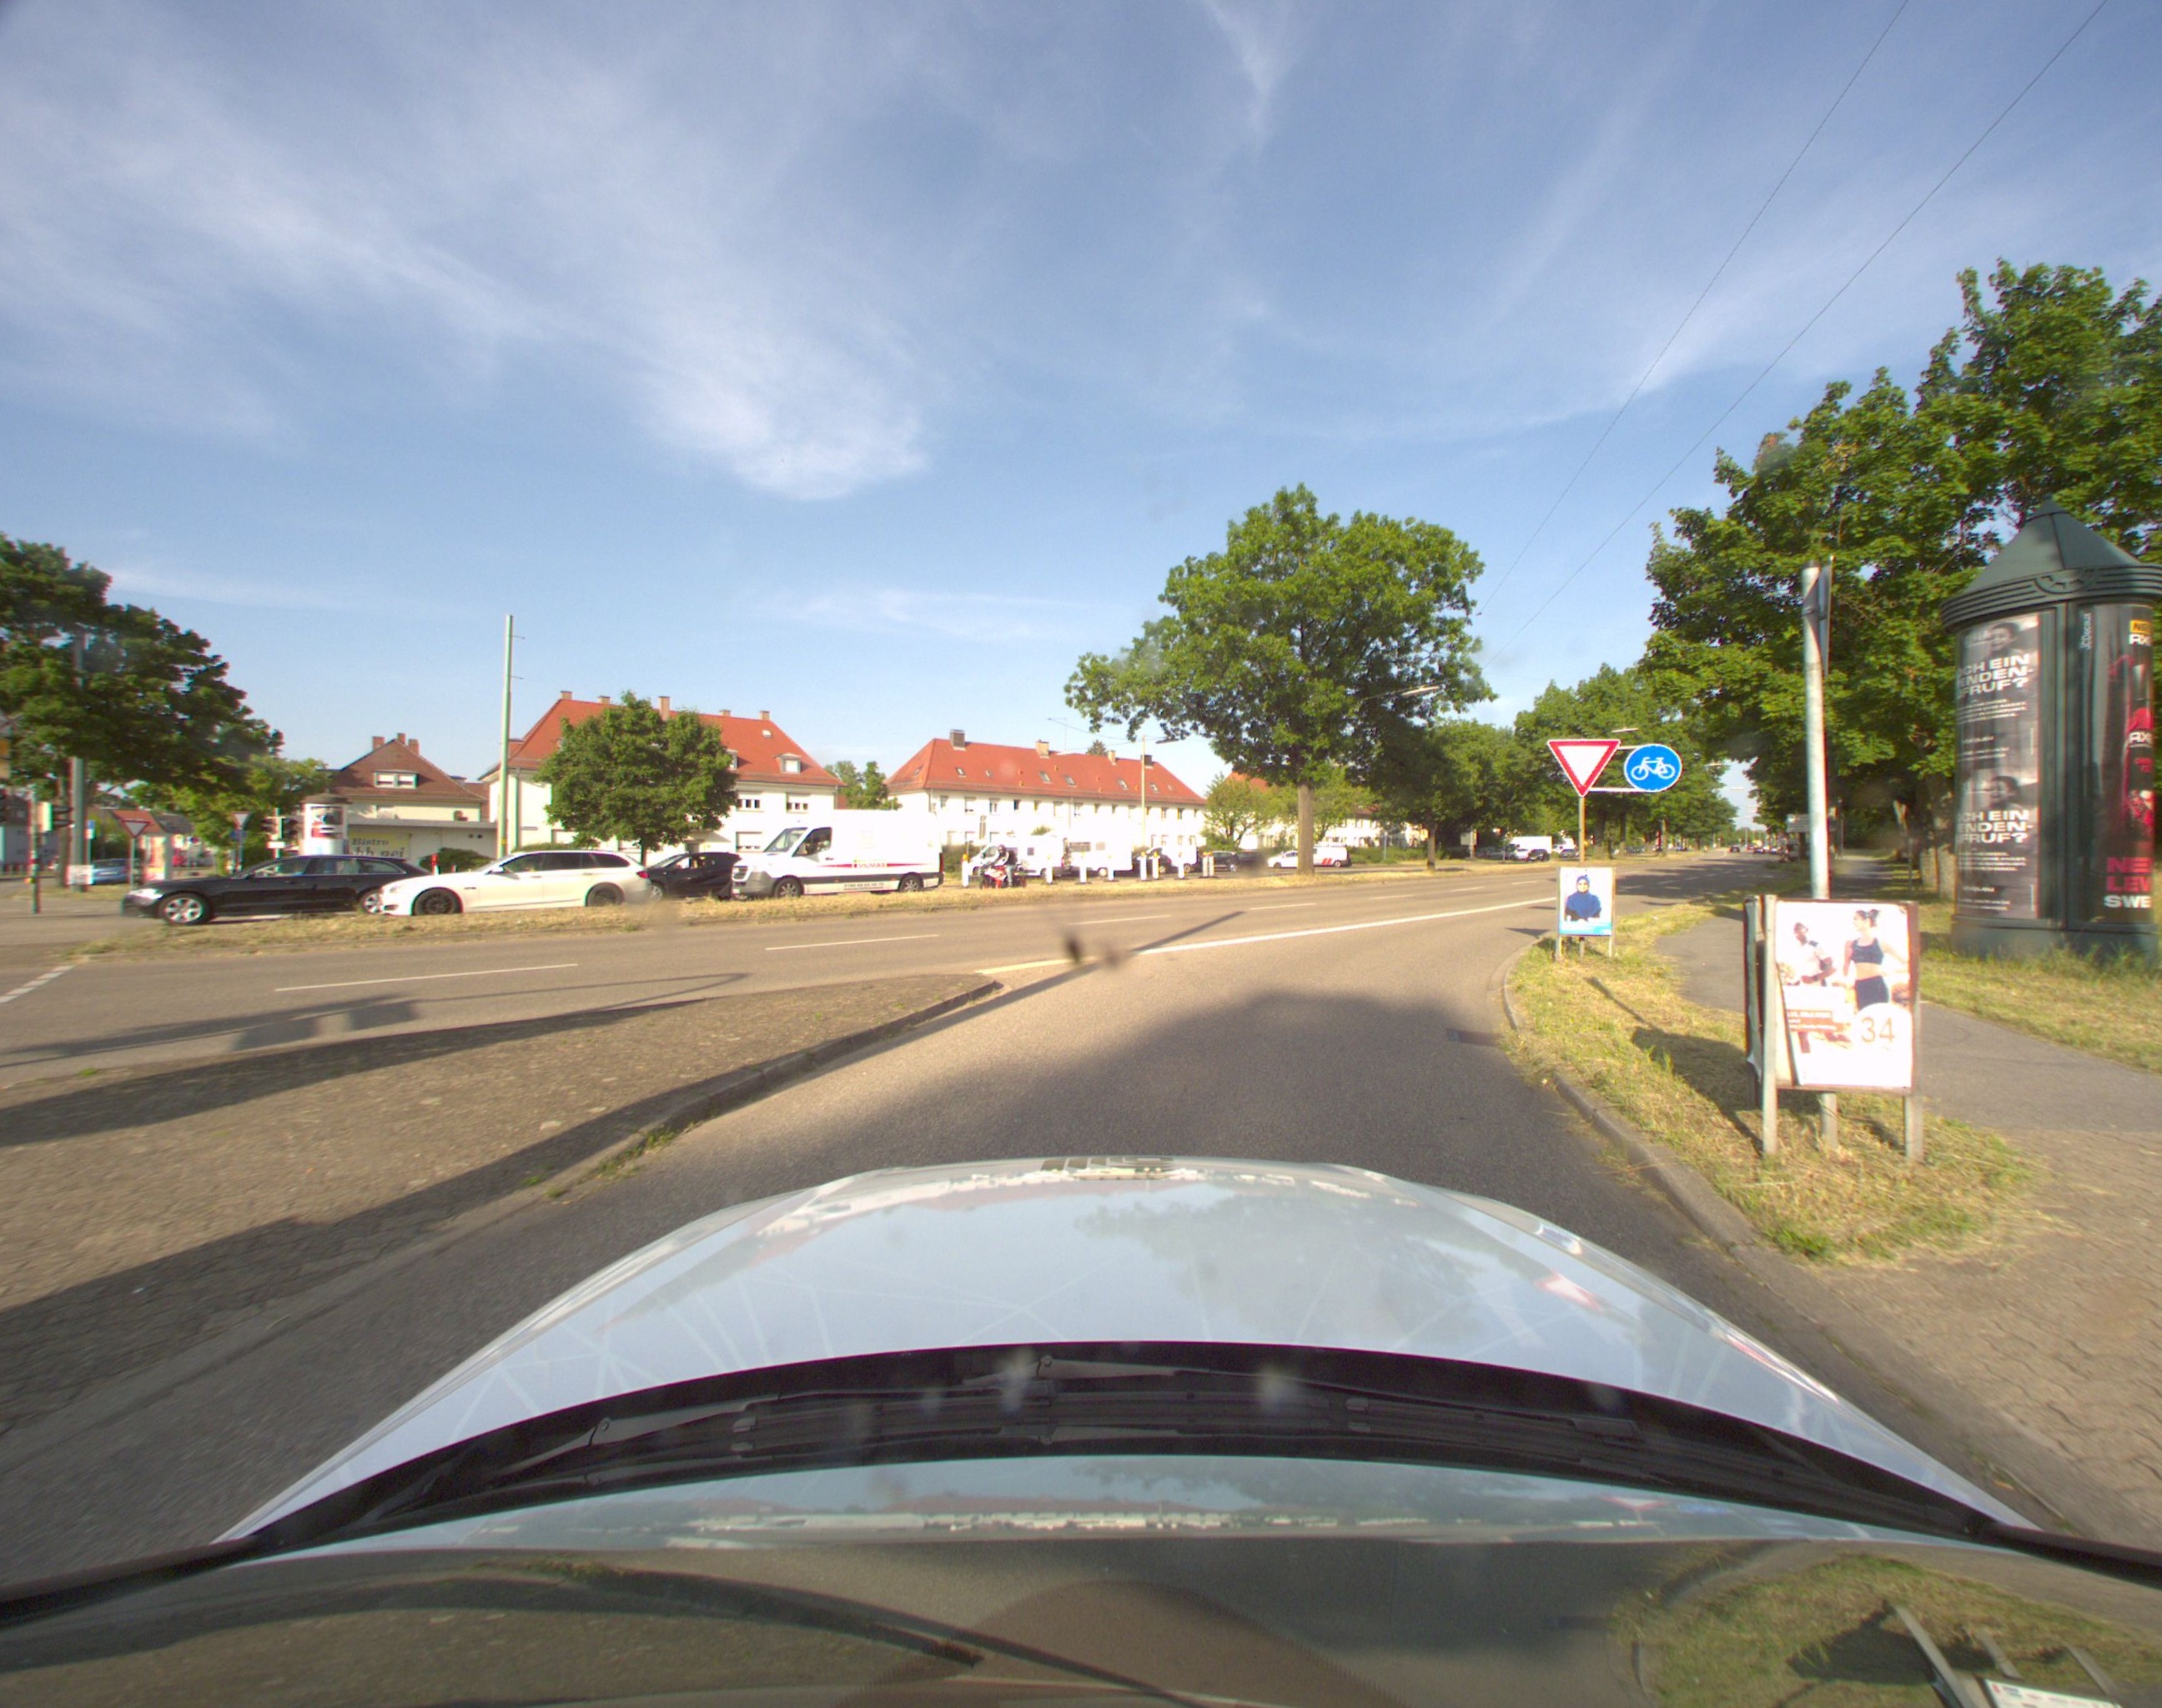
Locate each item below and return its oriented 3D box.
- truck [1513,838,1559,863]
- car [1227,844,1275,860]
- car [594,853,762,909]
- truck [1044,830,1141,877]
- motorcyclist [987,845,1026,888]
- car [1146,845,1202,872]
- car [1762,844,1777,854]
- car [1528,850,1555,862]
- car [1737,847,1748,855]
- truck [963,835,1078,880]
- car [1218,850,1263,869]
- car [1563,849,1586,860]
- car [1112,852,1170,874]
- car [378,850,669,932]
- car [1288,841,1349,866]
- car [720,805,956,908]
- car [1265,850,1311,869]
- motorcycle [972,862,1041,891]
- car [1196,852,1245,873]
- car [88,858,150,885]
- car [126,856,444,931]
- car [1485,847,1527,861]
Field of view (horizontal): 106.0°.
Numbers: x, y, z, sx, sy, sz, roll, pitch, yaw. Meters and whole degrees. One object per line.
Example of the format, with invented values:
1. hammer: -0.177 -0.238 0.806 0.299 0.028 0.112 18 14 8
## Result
1. truck: 64.296 -0.547 115.065 5.476 3.465 1.997 0 0 -4
2. car: 19.132 -0.241 91.822 2.011 1.719 4.918 -1 0 -44
3. car: -11.515 0.722 23.441 4.022 1.453 1.695 -1 0 -43
4. truck: 0.731 -0.040 52.112 6.039 2.854 1.896 -1 0 0
5. motorcyclist: -2.393 0.401 26.332 1.075 1.352 0.671 0 0 -44
6. car: 6.745 0.322 59.165 3.883 1.920 1.896 -1 0 0
7. car: 140.353 -1.071 166.049 1.974 2.013 4.026 -1 0 36
8. car: 52.002 0.206 91.928 1.694 1.353 4.024 -1 0 43
9. car: 150.562 -0.624 185.309 1.794 1.706 4.025 -1 -2 36
10. truck: -3.488 0.195 47.449 6.295 2.524 2.285 0 0 11
11. car: 12.941 0.449 66.326 3.406 1.514 1.898 -1 0 4
12. car: 73.504 0.057 121.335 4.304 1.451 1.893 2 -2 -44
13. car: 4.152 0.631 56.913 3.887 1.456 1.894 -1 0 -3
14. car: -12.186 0.708 18.084 5.140 1.563 1.817 -1 0 -43
15. car: 21.250 -0.042 72.988 4.946 2.232 2.000 -1 0 0
16. car: -6.748 0.047 23.324 6.263 2.583 1.976 0 0 -43
17. car: 17.379 0.432 68.487 3.406 1.514 1.898 -1 0 4
18. motorcycle: -2.391 0.720 26.337 2.292 0.866 0.682 0 0 -45
19. car: 10.436 0.596 61.294 3.472 1.514 1.898 -1 0 4
20. car: -53.007 0.978 44.935 1.689 1.398 3.951 2 -2 -43
21. car: -17.331 0.777 18.098 4.866 1.411 1.695 -1 0 -43
22. car: 55.738 -0.015 106.781 4.507 1.723 2.002 -1 0 3
